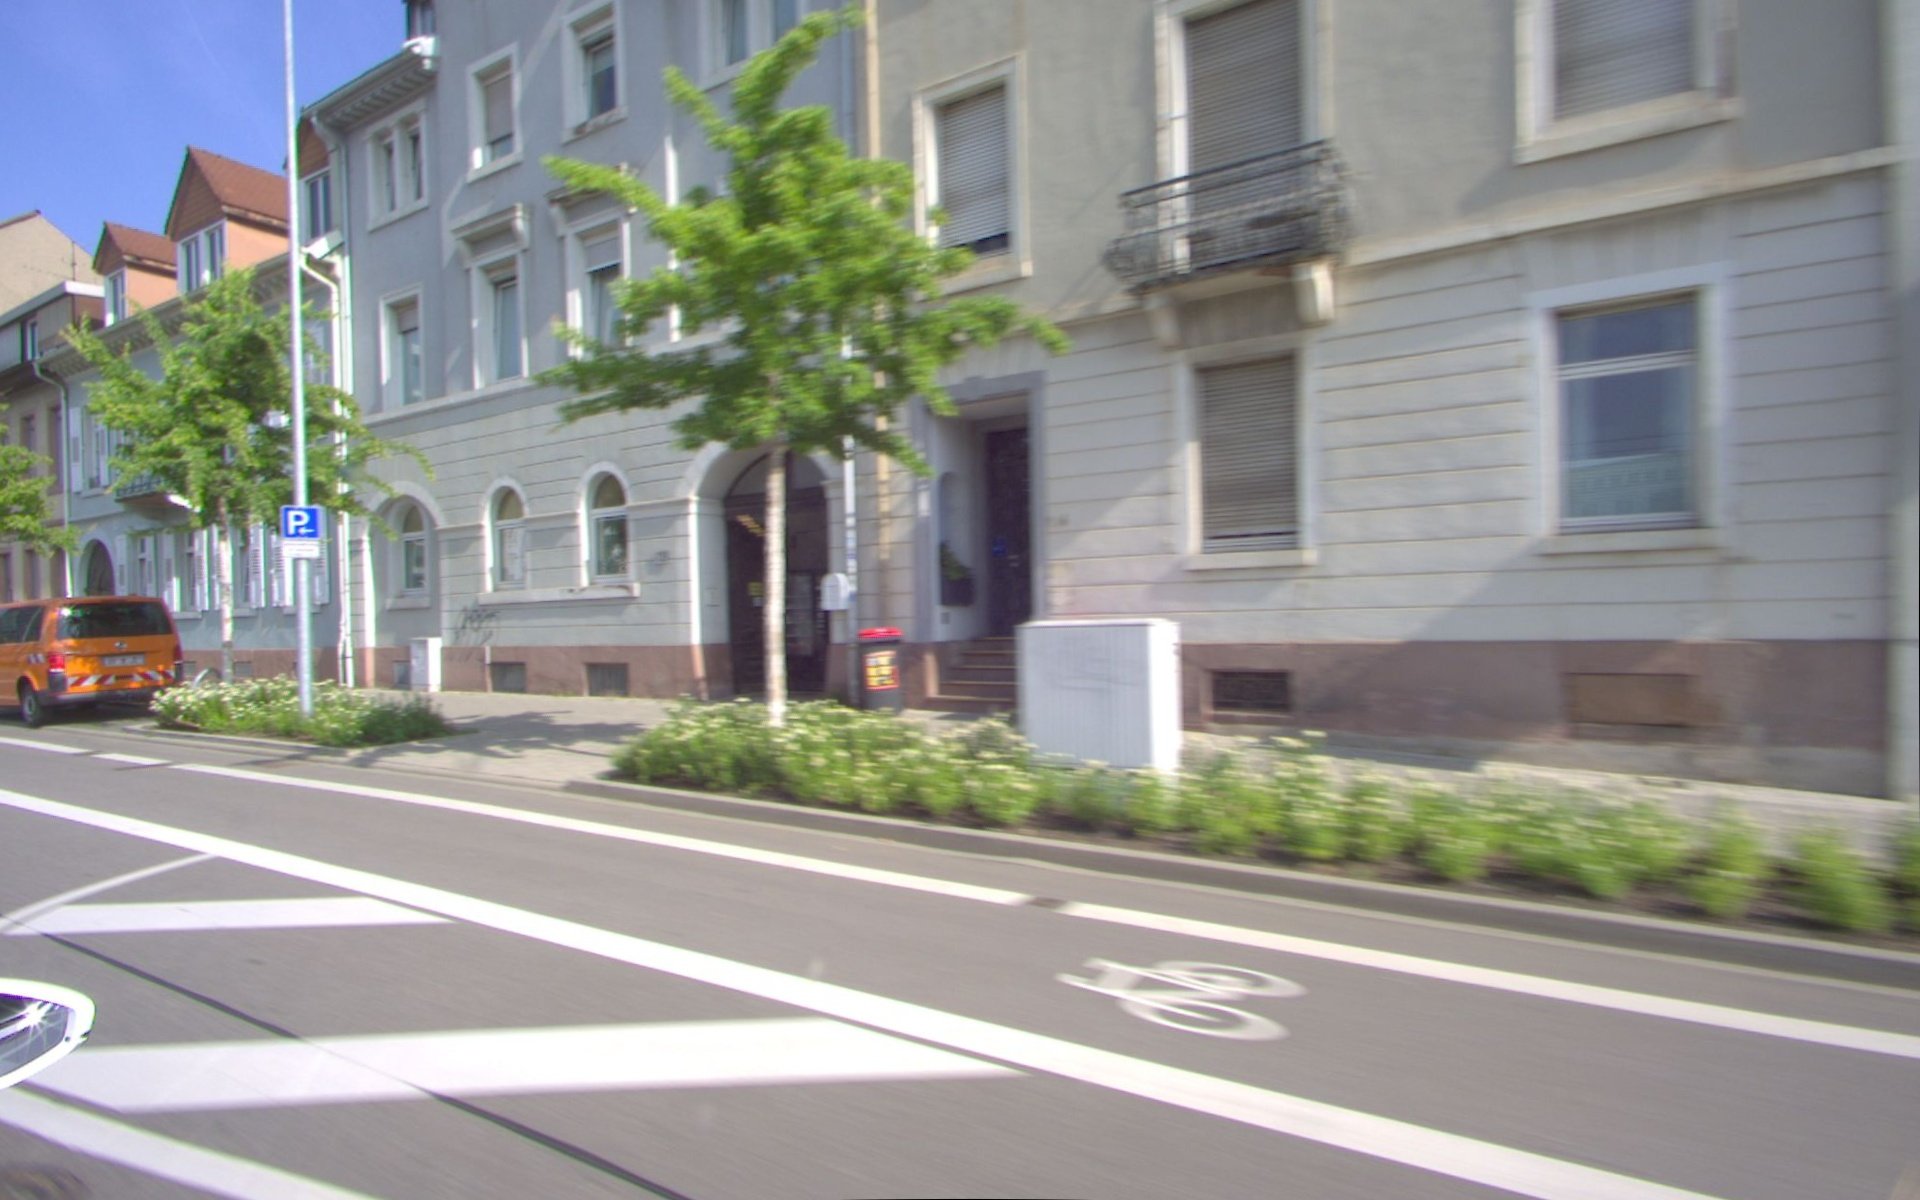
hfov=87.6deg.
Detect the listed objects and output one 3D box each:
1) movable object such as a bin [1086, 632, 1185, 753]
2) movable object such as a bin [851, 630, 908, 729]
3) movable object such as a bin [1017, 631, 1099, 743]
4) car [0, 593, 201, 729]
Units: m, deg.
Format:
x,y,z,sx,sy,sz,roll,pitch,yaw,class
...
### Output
x,y,z,sx,sy,sz,roll,pitch,yaw,class
1.855,0.941,10.552,0.796,1.187,0.780,1,0,31,movable object such as a bin
-1.004,0.960,12.342,0.606,1.168,0.670,1,0,-12,movable object such as a bin
1.098,0.944,11.147,0.661,1.167,0.703,1,0,31,movable object such as a bin
-15.159,0.959,17.071,4.522,2.040,2.059,-1,-1,32,car
